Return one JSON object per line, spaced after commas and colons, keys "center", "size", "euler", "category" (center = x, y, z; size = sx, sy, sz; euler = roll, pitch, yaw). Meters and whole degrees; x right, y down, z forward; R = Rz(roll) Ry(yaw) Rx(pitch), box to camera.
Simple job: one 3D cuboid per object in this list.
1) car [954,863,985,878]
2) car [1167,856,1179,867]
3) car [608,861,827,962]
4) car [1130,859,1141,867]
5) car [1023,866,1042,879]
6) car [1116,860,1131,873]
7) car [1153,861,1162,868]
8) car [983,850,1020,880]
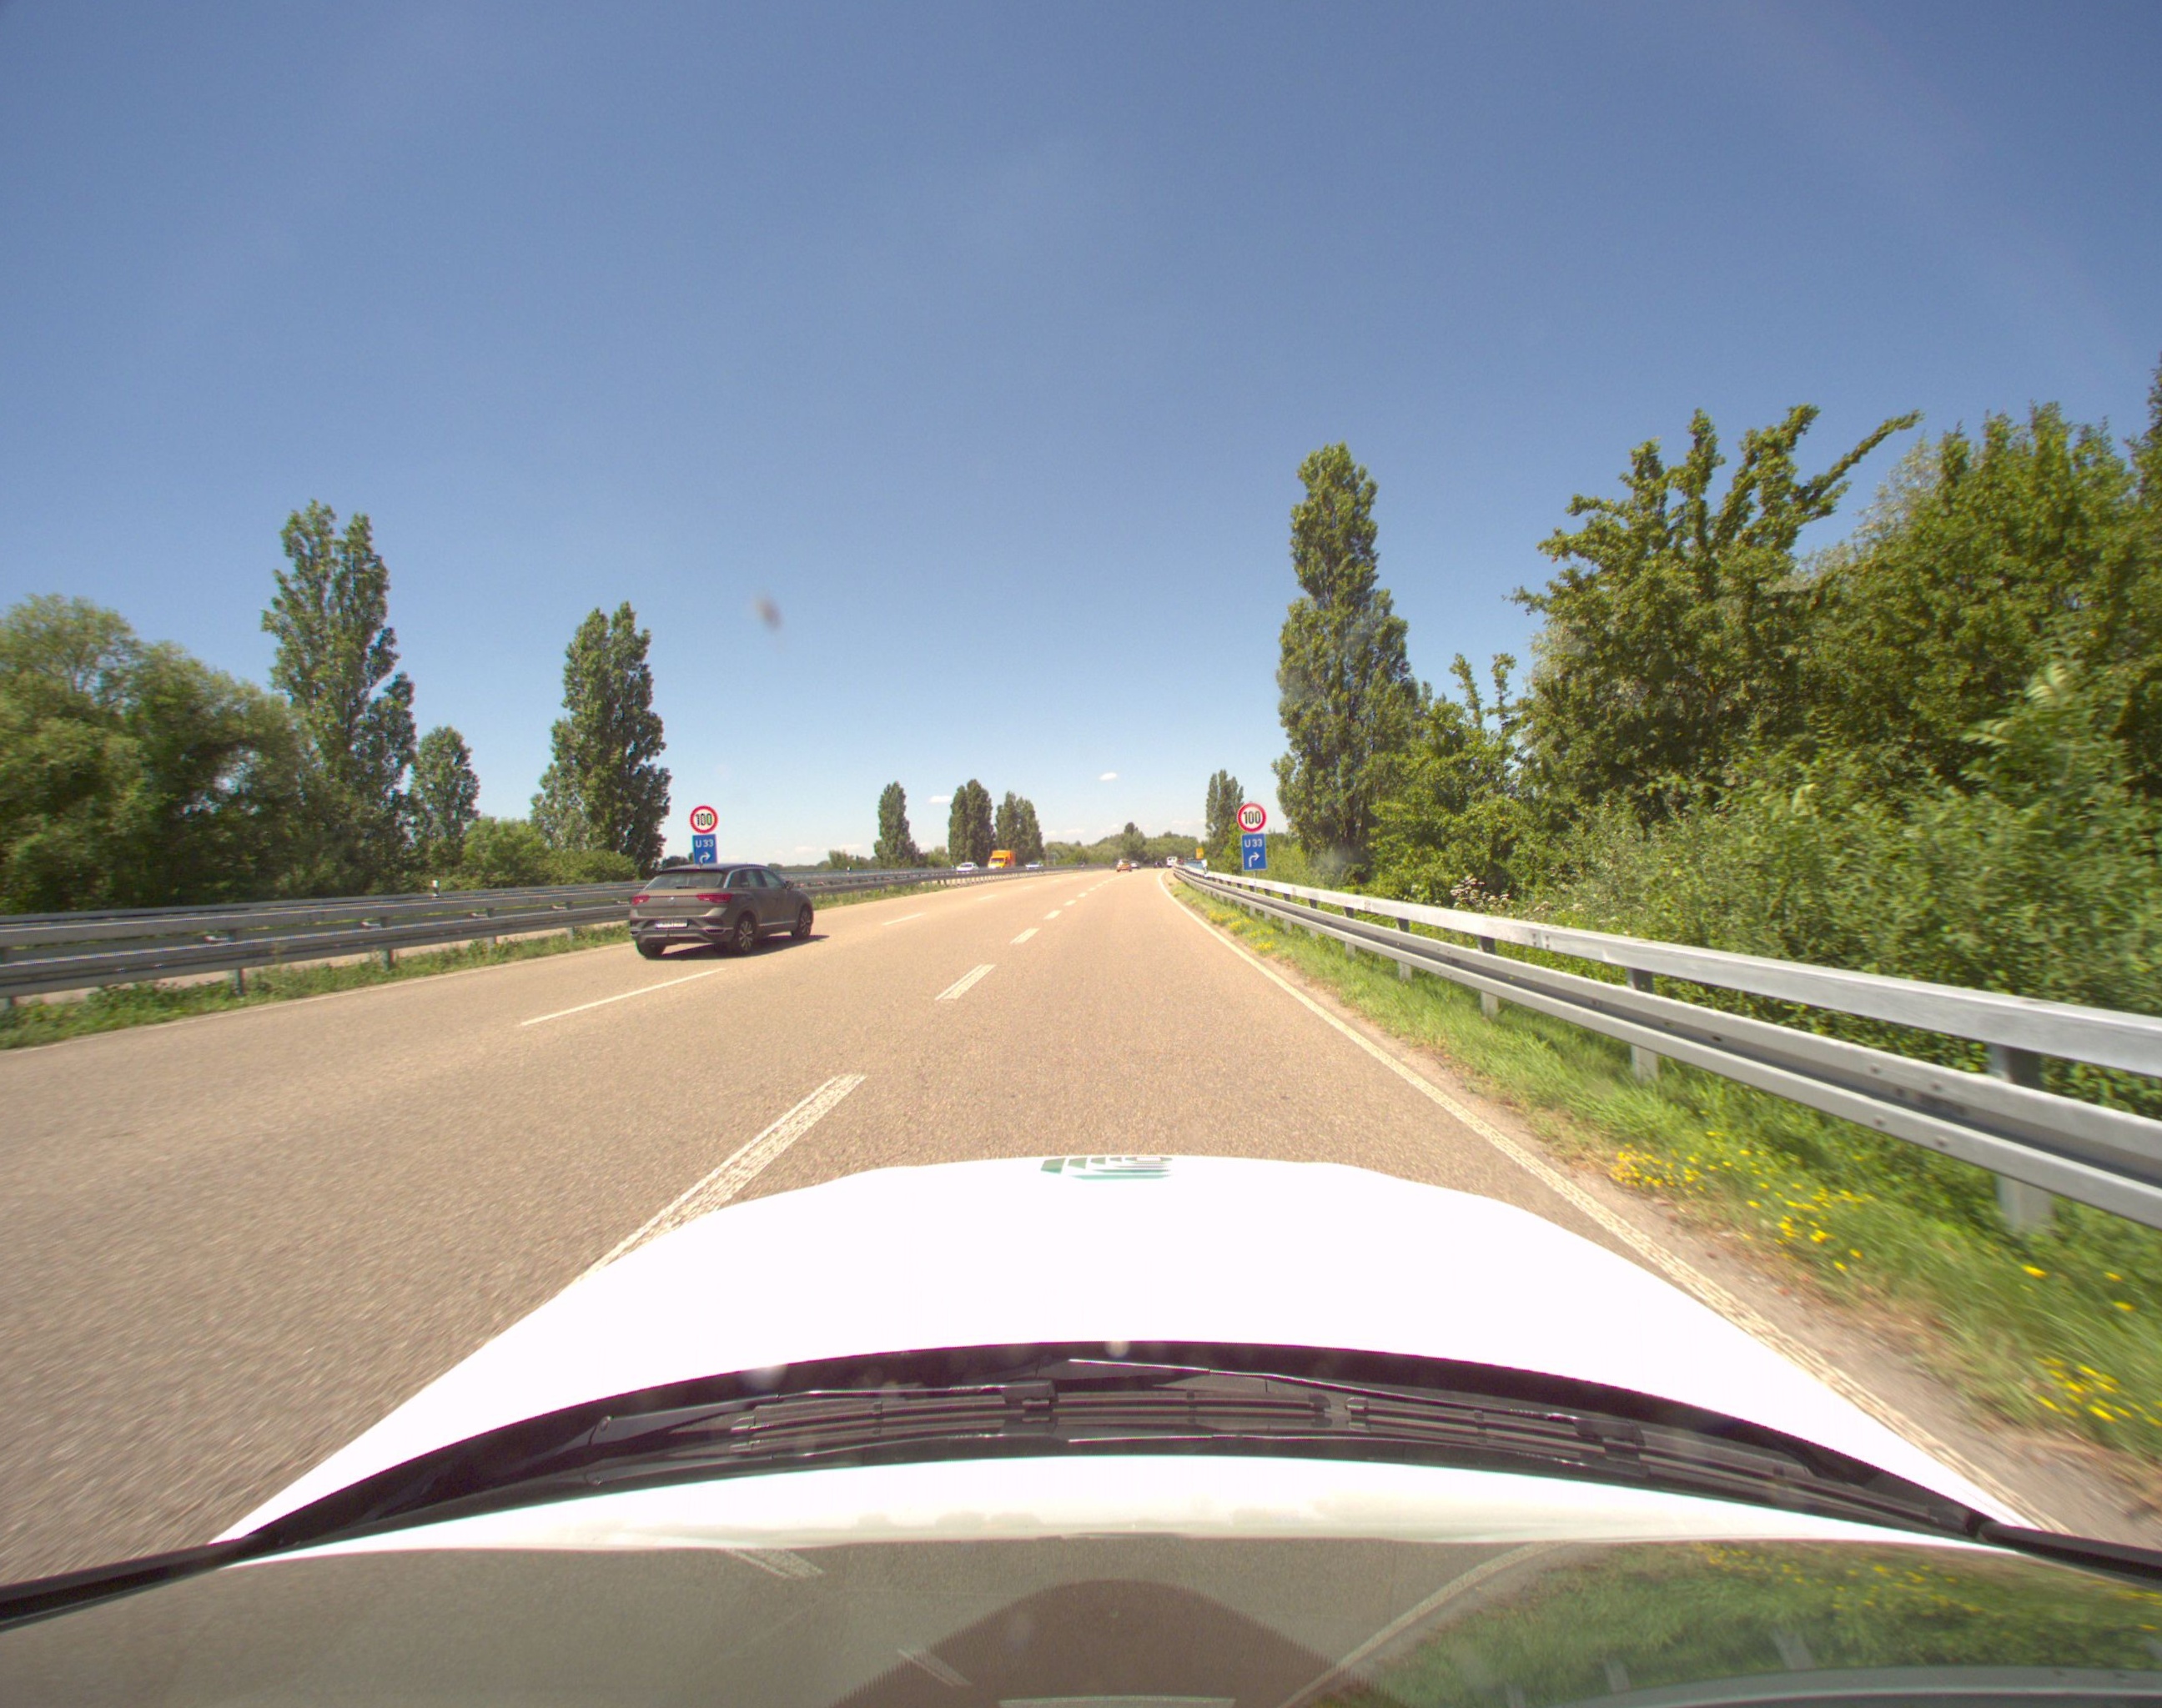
{"center": [-11.262, 1.669, 82.550], "size": [1.842, 1.432, 4.805], "euler": [-2, -1, 7], "category": "car"}
{"center": [16.393, 1.272, 145.446], "size": [1.830, 1.895, 4.011], "euler": [-1, 0, 10], "category": "car"}
{"center": [-6.379, 0.923, 14.961], "size": [1.834, 1.530, 4.473], "euler": [-1, 0, 3], "category": "car"}
{"center": [9.802, 1.622, 146.661], "size": [1.832, 1.451, 4.006], "euler": [-1, 0, 5], "category": "car"}
{"center": [-6.871, 2.643, 115.502], "size": [1.843, 1.818, 4.804], "euler": [-2, -2, 7], "category": "car"}
{"center": [5.179, 1.472, 99.073], "size": [1.833, 1.464, 4.004], "euler": [-1, 0, 3], "category": "car"}
{"center": [17.992, 2.480, 191.784], "size": [1.933, 1.464, 4.007], "euler": [-1, 0, 6], "category": "car"}
{"center": [-9.311, 1.309, 96.076], "size": [2.290, 3.292, 7.049], "euler": [-2, -1, 11], "category": "car"}
